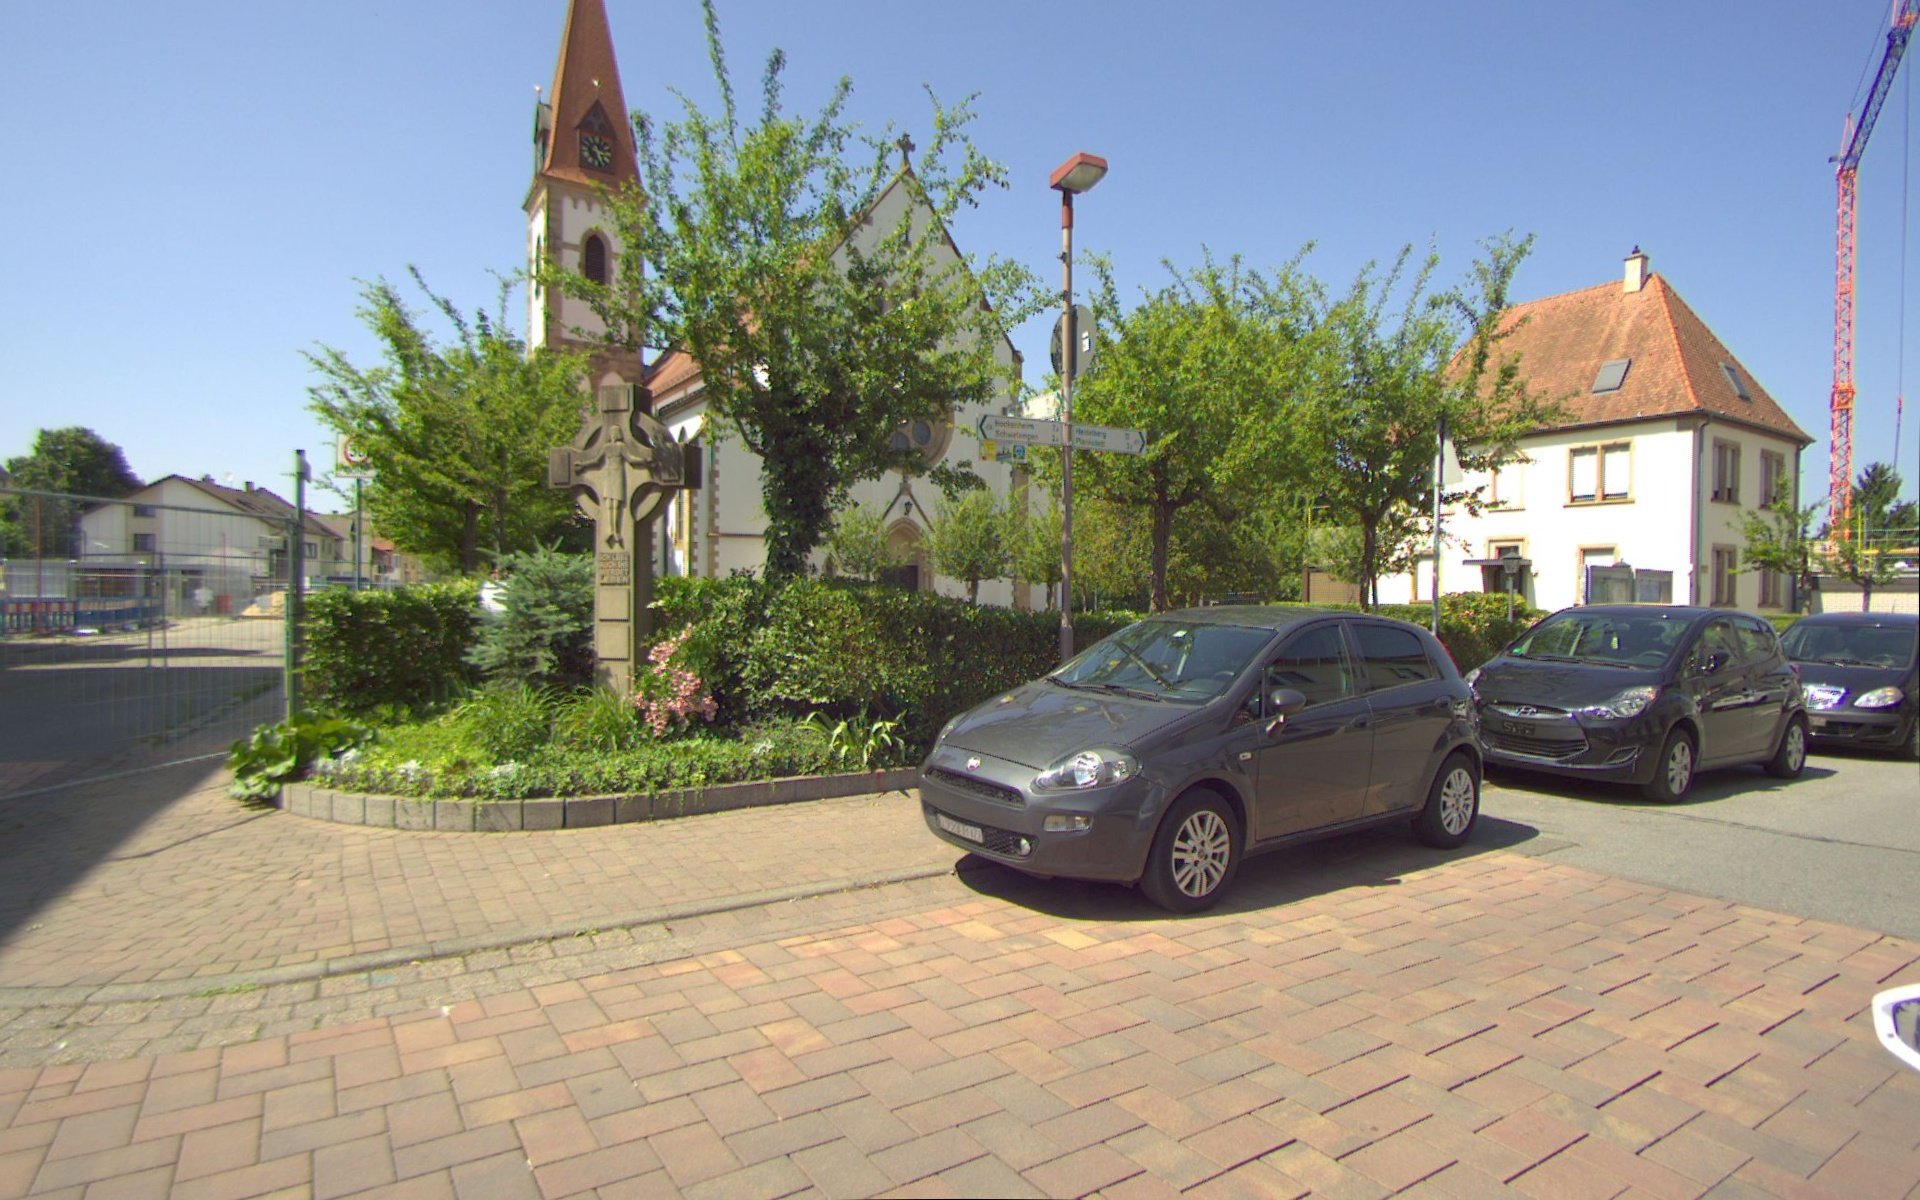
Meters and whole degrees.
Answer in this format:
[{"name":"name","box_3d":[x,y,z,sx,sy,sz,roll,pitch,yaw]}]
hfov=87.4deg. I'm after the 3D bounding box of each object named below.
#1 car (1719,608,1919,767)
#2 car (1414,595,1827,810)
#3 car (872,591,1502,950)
[{"name":"car","box_3d":[11.007,0.945,12.323,3.730,1.650,1.627,1,0,-35]},{"name":"car","box_3d":[6.289,0.803,9.461,3.981,1.626,1.805,1,0,-33]},{"name":"car","box_3d":[1.535,0.745,6.106,3.822,1.517,1.689,1,0,-38]}]
